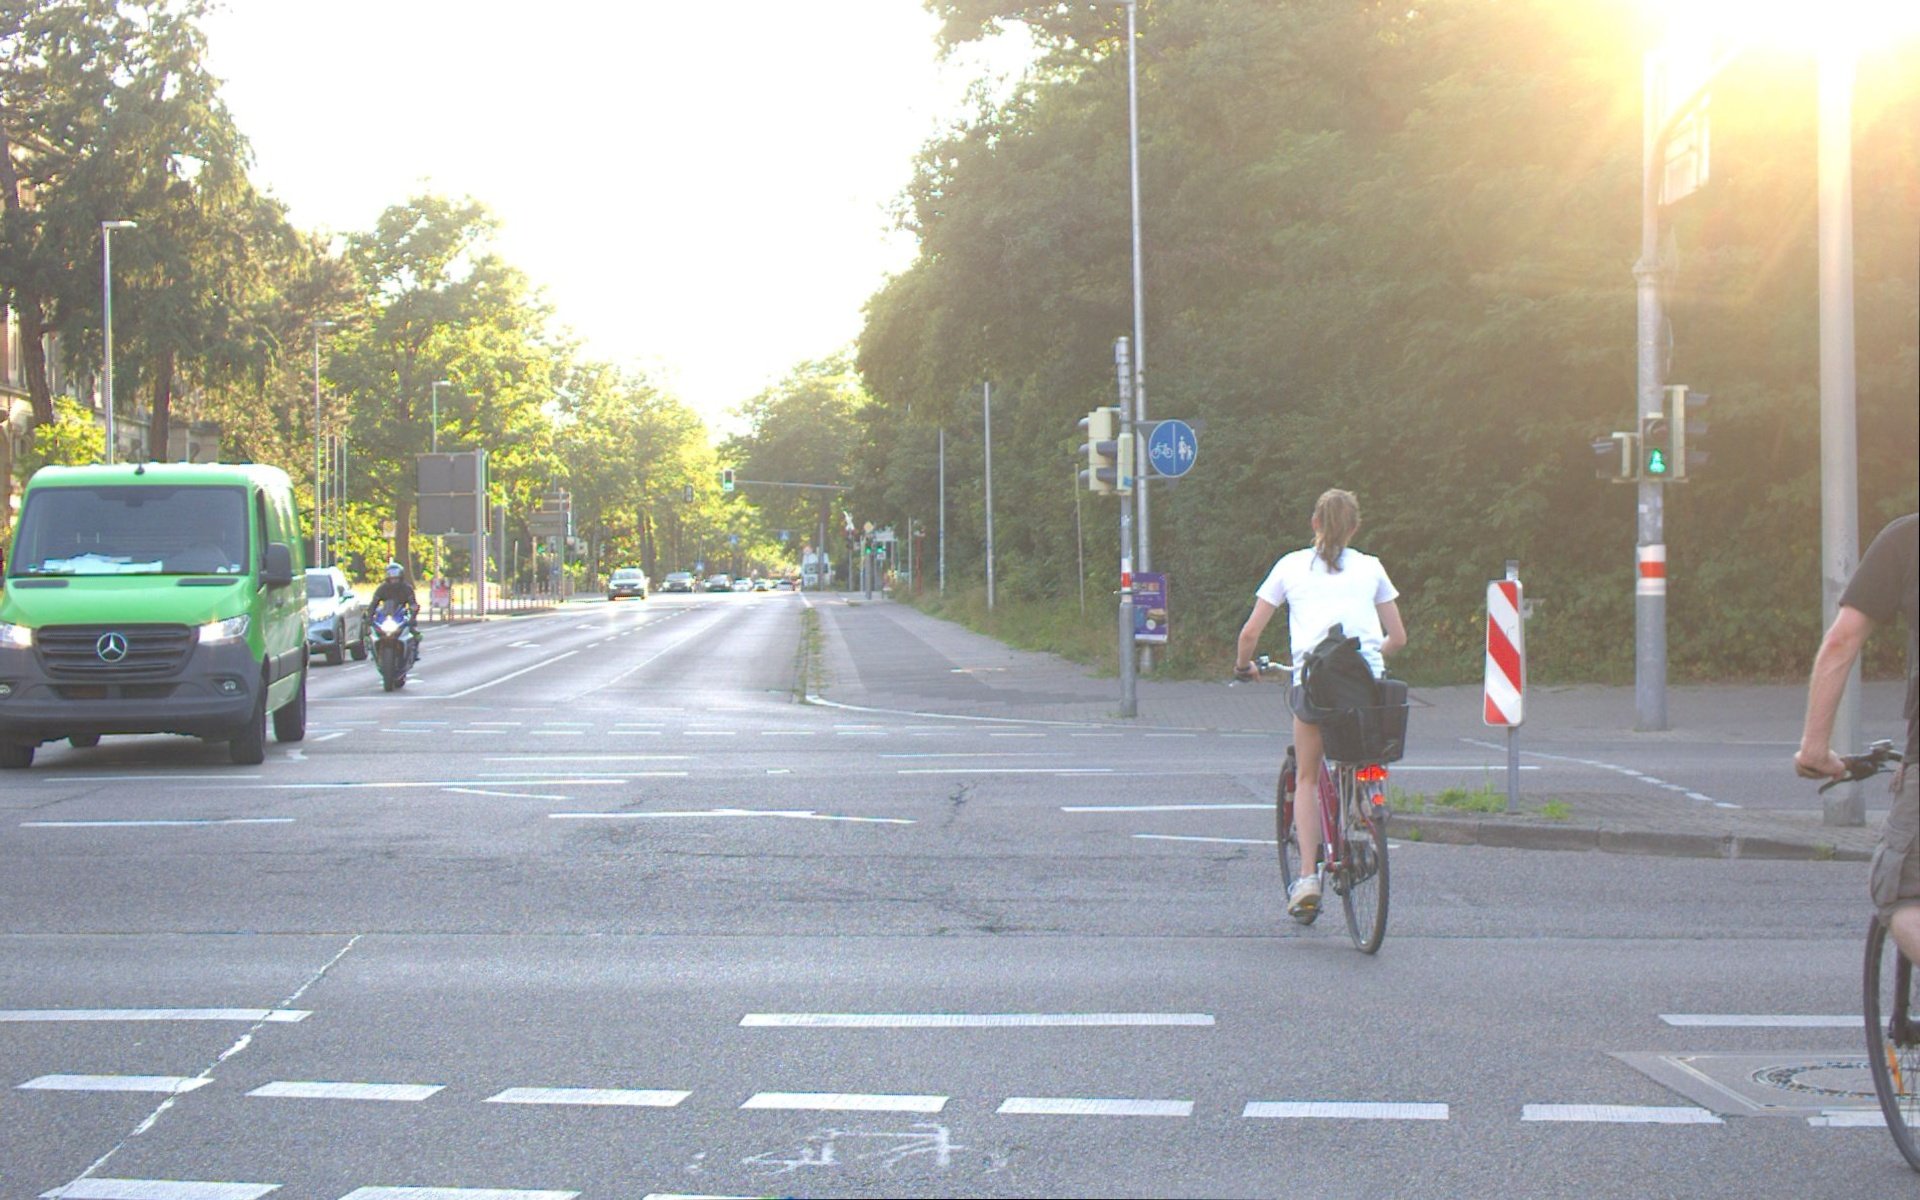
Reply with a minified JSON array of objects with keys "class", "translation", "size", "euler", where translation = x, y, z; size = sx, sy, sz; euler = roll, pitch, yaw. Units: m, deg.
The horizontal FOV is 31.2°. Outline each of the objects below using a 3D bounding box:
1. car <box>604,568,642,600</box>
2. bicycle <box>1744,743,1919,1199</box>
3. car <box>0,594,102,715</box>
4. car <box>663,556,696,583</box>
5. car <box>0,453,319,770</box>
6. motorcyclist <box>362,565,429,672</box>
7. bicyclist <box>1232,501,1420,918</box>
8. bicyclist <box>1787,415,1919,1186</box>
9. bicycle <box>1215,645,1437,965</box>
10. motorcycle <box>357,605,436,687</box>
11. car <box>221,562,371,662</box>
[{"class":"car","translation":[-16.016,-0.778,163.524],"size":[1.770,1.469,3.777],"euler":[0,0,-6]},{"class":"bicycle","translation":[2.340,0.899,7.715],"size":[0.698,1.059,1.825],"euler":[1,0,-1]},{"class":"car","translation":[-11.302,0.613,40.100],"size":[1.764,1.323,3.643],"euler":[-1,0,-2]},{"class":"car","translation":[-17.050,-1.852,209.007],"size":[1.993,1.634,4.001],"euler":[0,0,-5]},{"class":"car","translation":[-6.392,0.055,27.750],"size":[2.038,2.270,5.942],"euler":[-1,0,-7]},{"class":"motorcyclist","translation":[-7.226,0.235,44.052],"size":[0.749,1.353,0.704],"euler":[-1,0,-2]},{"class":"bicyclist","translation":[1.426,0.411,13.496],"size":[0.603,1.580,0.910],"euler":[0,0,-2]},{"class":"bicyclist","translation":[2.342,0.433,7.811],"size":[0.698,1.661,0.798],"euler":[1,0,-1]},{"class":"bicycle","translation":[1.422,0.770,13.633],"size":[0.613,1.134,1.884],"euler":[0,1,-2]},{"class":"motorcycle","translation":[-7.220,0.580,44.087],"size":[0.754,0.998,1.879],"euler":[-1,0,-2]},{"class":"car","translation":[-11.299,0.174,58.732],"size":[1.764,1.630,4.513],"euler":[-1,0,-1]}]
